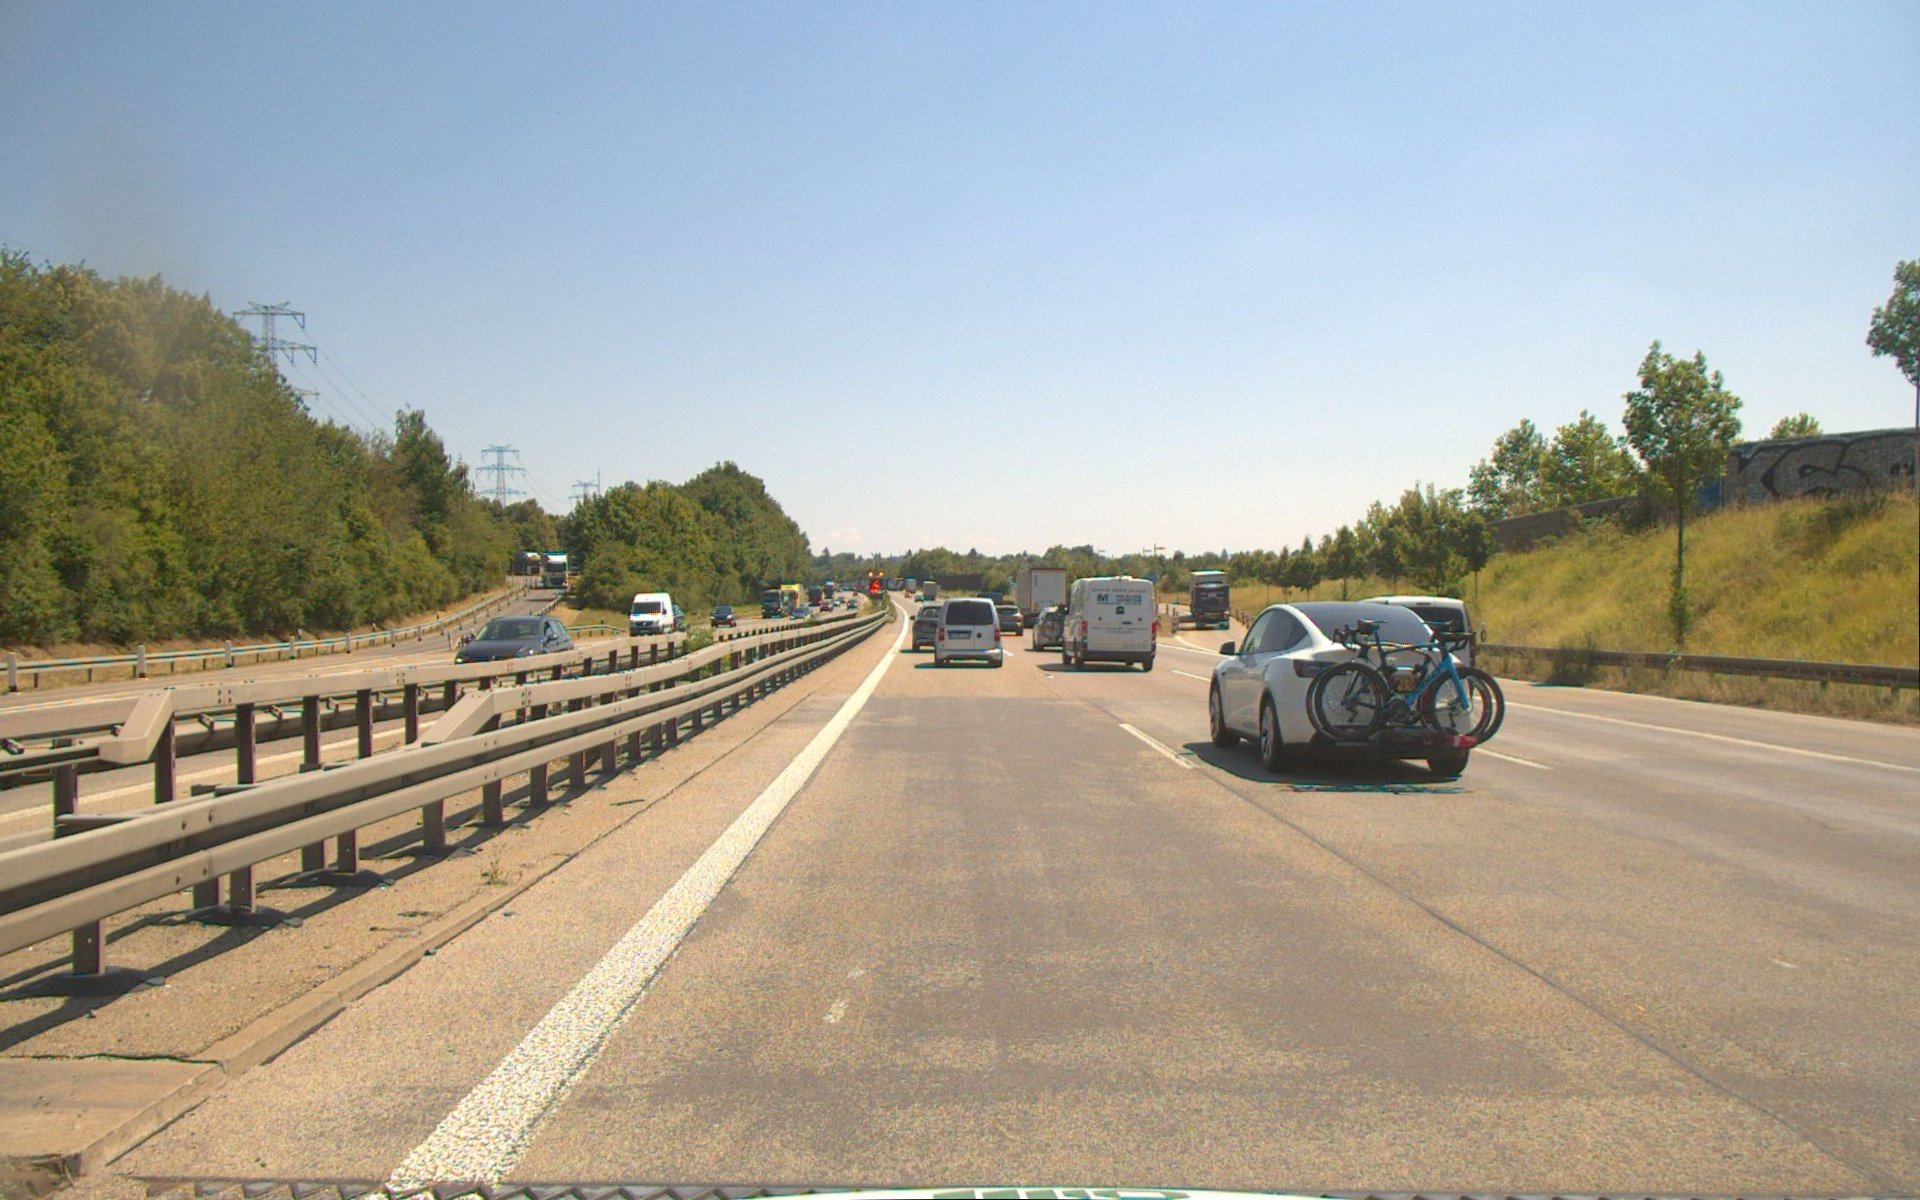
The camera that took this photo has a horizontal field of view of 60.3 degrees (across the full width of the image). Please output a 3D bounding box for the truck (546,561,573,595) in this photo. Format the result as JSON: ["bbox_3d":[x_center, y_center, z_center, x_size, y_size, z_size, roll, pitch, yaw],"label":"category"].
[{"bbox_3d":[-49.080,-2.717,202.569,2.890,3.963,4.315,-1,2,-10],"label":"truck"}]

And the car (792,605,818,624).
[{"bbox_3d":[-12.513,1.150,133.590,1.745,1.499,4.354,-1,0,-1],"label":"car"}]

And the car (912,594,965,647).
[{"bbox_3d":[-0.723,0.685,56.821,1.709,1.731,4.088,-1,0,-1],"label":"car"}]

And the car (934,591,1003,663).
[{"bbox_3d":[0.181,0.689,43.907,1.709,1.795,4.087,-1,0,-1],"label":"car"}]

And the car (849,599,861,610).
[{"bbox_3d":[-16.377,0.678,257.770,1.746,1.653,3.999,-1,0,-1],"label":"car"}]

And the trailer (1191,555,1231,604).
[{"bbox_3d":[22.453,-1.723,148.424,2.987,4.154,14.267,1,0,6],"label":"trailer"}]

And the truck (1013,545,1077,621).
[{"bbox_3d":[5.967,-1.132,118.182,3.711,5.087,12.515,1,0,-1],"label":"truck"}]

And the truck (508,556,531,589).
[{"bbox_3d":[-58.323,-3.576,219.268,2.506,4.078,11.749,1,0,-13],"label":"truck"}]

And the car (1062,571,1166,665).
[{"bbox_3d":[3.945,0.446,43.263,2.137,2.293,5.362,1,0,-1],"label":"car"}]

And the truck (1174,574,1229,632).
[{"bbox_3d":[18.516,0.253,126.079,3.707,4.154,12.529,1,0,10],"label":"truck"}]

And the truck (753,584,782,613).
[{"bbox_3d":[-22.556,-0.145,194.182,2.855,3.358,5.329,-1,0,-2],"label":"truck"}]

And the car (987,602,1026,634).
[{"bbox_3d":[2.455,0.940,88.025,1.863,1.701,4.087,0,0,-1],"label":"car"}]

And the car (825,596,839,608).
[{"bbox_3d":[-18.533,0.296,239.542,1.746,1.557,4.382,-3,0,-2],"label":"car"}]

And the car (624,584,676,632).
[{"bbox_3d":[-18.570,0.479,99.371,2.067,2.686,6.002,-2,0,-2],"label":"car"}]

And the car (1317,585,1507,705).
[{"bbox_3d":[7.631,0.719,28.341,1.911,1.870,4.176,-1,0,-3],"label":"car"}]

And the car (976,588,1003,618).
[{"bbox_3d":[1.939,0.171,109.649,1.640,1.925,4.087,-1,0,-1],"label":"car"}]

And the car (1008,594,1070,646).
[{"bbox_3d":[2.789,0.694,59.434,1.936,1.763,4.087,-1,0,-1],"label":"car"}]

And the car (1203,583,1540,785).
[{"bbox_3d":[3.868,0.715,16.681,1.911,1.665,5.599,1,0,-1],"label":"car"}]

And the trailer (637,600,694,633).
[{"bbox_3d":[-18.764,1.031,105.736,2.710,1.980,6.719,-2,0,-4],"label":"trailer"}]

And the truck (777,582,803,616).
[{"bbox_3d":[-22.501,-0.137,219.170,3.111,4.417,3.511,-1,0,-3],"label":"truck"}]

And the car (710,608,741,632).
[{"bbox_3d":[-19.367,1.655,136.479,2.114,1.831,4.510,-2,0,-4],"label":"car"}]

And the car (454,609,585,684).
[{"bbox_3d":[-9.534,0.960,36.119,1.746,1.499,4.487,-1,0,-2],"label":"car"}]
